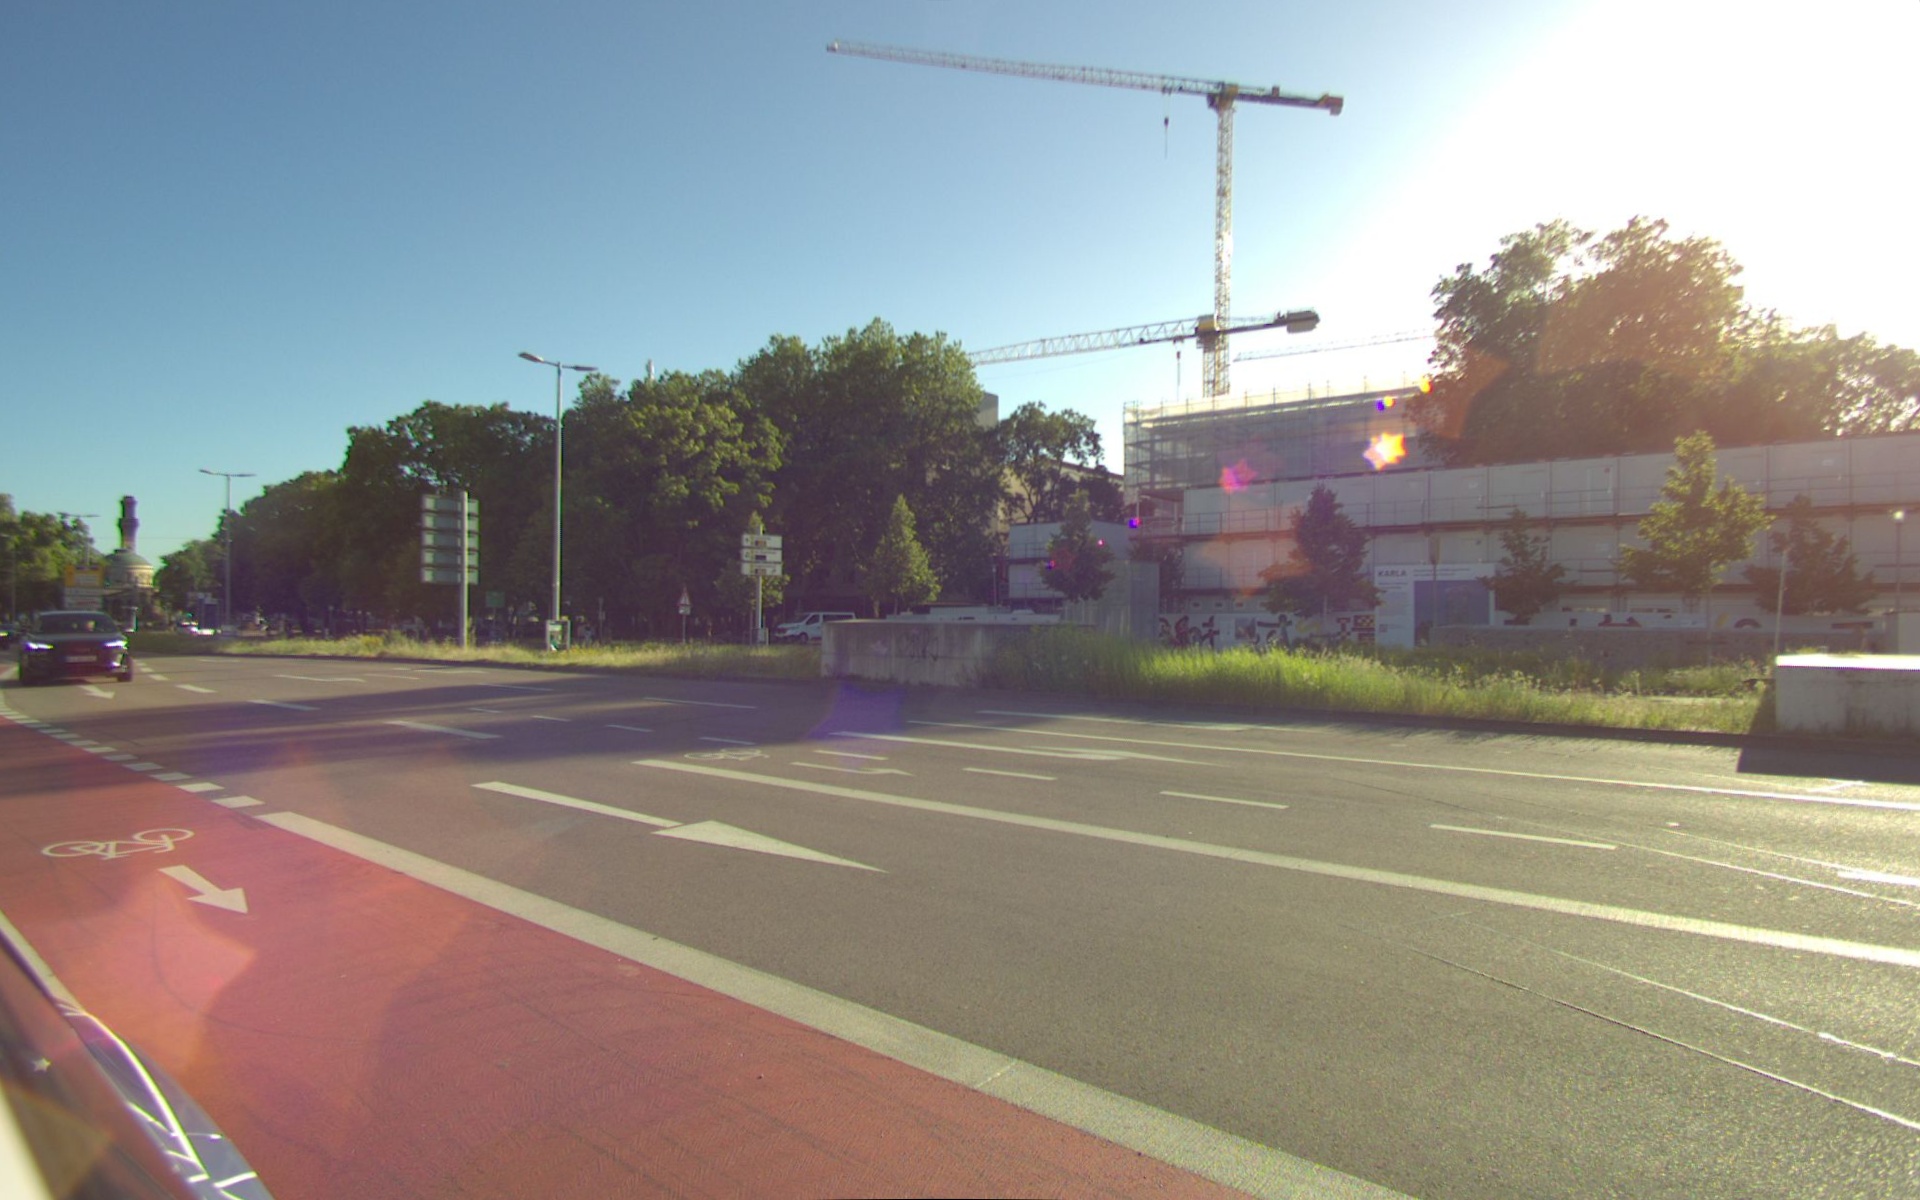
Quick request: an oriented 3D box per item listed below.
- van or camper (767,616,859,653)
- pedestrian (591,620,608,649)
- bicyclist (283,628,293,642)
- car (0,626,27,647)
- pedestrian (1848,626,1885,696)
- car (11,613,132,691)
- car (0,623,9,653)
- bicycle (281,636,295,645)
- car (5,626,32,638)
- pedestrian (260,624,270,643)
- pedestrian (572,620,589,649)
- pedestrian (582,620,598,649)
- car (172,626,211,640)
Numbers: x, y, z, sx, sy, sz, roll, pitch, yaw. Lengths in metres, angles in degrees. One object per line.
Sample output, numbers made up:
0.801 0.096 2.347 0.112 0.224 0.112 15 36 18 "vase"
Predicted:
-8.931 2.069 61.943 1.948 2.029 5.576 -1 0 42 "van or camper"
-22.117 2.117 62.072 0.762 1.738 0.697 -2 -2 43 "pedestrian"
-62.558 3.255 94.227 0.714 1.291 0.603 -1 -2 40 "bicyclist"
-68.810 2.600 72.750 4.484 1.417 1.974 -1 0 40 "car"
22.184 1.481 24.781 0.626 1.665 0.930 -1 -2 41 "pedestrian"
-20.979 1.155 23.835 1.910 1.656 4.620 1 -2 -44 "car"
-56.324 2.174 58.071 4.321 1.732 1.974 -1 -2 39 "car"
-62.560 3.758 94.212 1.744 0.849 0.602 -1 -2 40 "bicycle"
-111.878 3.810 120.248 3.996 1.409 1.849 -1 -2 40 "car"
-67.806 3.262 98.736 0.924 1.862 0.620 -1 -2 40 "pedestrian"
-22.702 2.077 60.527 0.762 1.738 0.698 -1 -2 41 "pedestrian"
-22.461 2.067 61.441 0.762 1.738 0.656 -1 -2 41 "pedestrian"
-85.716 3.652 112.940 1.966 1.519 4.010 0 -2 -14 "car"
